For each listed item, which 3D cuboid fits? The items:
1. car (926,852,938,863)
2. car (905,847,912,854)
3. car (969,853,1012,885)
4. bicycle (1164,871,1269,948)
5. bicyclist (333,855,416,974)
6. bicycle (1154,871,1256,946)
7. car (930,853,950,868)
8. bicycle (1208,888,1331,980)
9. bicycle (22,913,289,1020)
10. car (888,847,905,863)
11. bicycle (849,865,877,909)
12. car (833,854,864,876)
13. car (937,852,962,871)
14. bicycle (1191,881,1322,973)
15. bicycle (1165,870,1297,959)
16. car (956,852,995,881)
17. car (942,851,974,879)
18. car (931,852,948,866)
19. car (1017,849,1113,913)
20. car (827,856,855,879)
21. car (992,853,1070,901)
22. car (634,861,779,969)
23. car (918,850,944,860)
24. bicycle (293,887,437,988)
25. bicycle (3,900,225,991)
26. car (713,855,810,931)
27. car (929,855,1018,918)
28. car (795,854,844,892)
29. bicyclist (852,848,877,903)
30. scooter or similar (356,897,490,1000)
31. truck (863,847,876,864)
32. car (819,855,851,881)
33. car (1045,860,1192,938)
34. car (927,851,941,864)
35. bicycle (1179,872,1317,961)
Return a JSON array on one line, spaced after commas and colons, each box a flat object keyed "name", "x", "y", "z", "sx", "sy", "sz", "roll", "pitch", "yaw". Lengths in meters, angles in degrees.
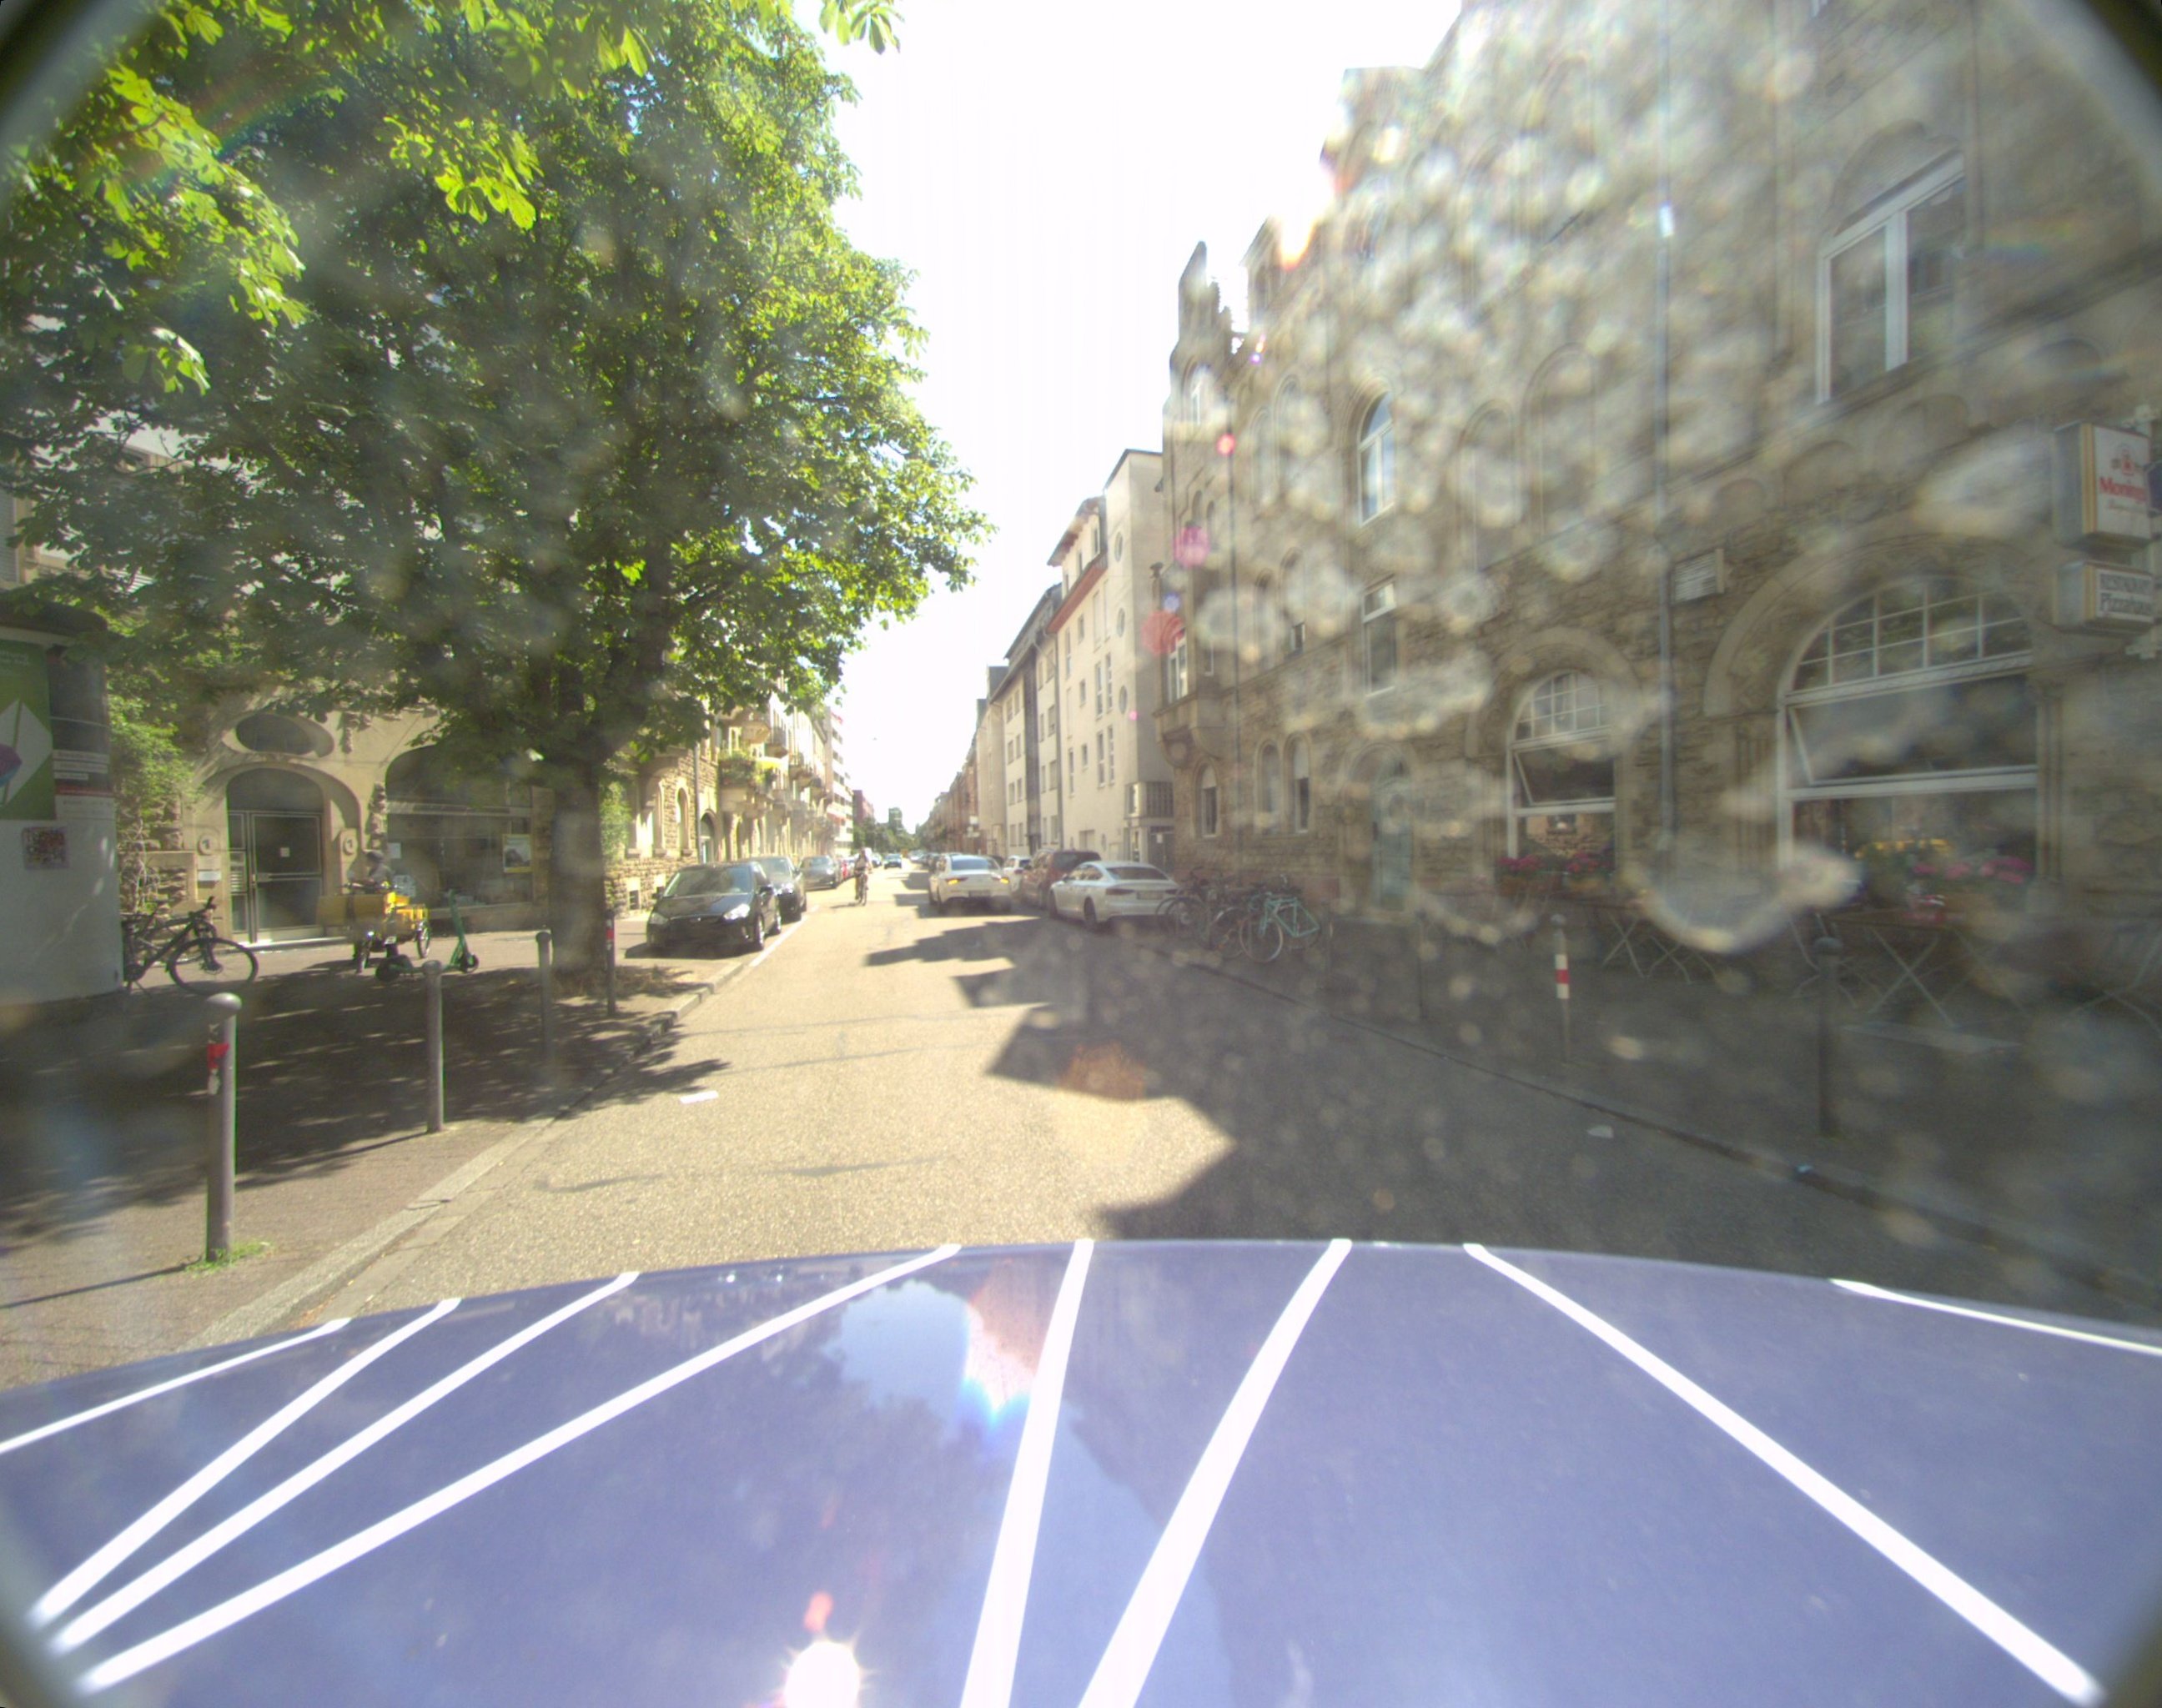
[{"name": "car", "x": -20.028, "y": 0.495, "z": 102.053, "sx": 1.452, "sy": 1.391, "sz": 3.521, "roll": 3, "pitch": 0, "yaw": -13}, {"name": "car", "x": -48.168, "y": -1.041, "z": 212.554, "sx": 1.787, "sy": 2.002, "sz": 3.995, "roll": -2, "pitch": 1, "yaw": -11}, {"name": "car", "x": -4.538, "y": 0.702, "z": 37.713, "sx": 1.573, "sy": 1.483, "sz": 3.888, "roll": 1, "pitch": 0, "yaw": -15}, {"name": "bicycle", "x": 2.233, "y": 0.888, "z": 12.428, "sx": 1.709, "sy": 1.094, "sz": 0.291, "roll": -4, "pitch": 2, "yaw": -18}, {"name": "bicyclist", "x": -10.116, "y": 0.835, "z": 10.908, "sx": 0.681, "sy": 1.638, "sz": 0.660, "roll": -1, "pitch": 1, "yaw": -28}, {"name": "bicycle", "x": 2.083, "y": 0.892, "z": 12.710, "sx": 1.709, "sy": 1.094, "sz": 0.291, "roll": -3, "pitch": 2, "yaw": -18}, {"name": "car", "x": -14.331, "y": 0.641, "z": 77.039, "sx": 1.784, "sy": 1.421, "sz": 3.832, "roll": 3, "pitch": 0, "yaw": -12}, {"name": "bicycle", "x": 2.430, "y": 1.004, "z": 9.753, "sx": 1.531, "sy": 1.002, "sz": 0.366, "roll": -4, "pitch": 2, "yaw": -18}, {"name": "bicycle", "x": -10.442, "y": 1.246, "z": 8.654, "sx": 1.907, "sy": 1.033, "sz": 0.633, "roll": -1, "pitch": 1, "yaw": -14}, {"name": "car", "x": -19.306, "y": 0.115, "z": 79.383, "sx": 1.627, "sy": 1.601, "sz": 3.592, "roll": -1, "pitch": 1, "yaw": -14}, {"name": "bicycle", "x": -6.494, "y": 0.954, "z": 22.696, "sx": 0.672, "sy": 1.169, "sz": 2.091, "roll": -1, "pitch": 1, "yaw": -13}, {"name": "car", "x": -17.622, "y": 0.835, "z": 57.792, "sx": 1.722, "sy": 1.444, "sz": 4.591, "roll": -4, "pitch": 1, "yaw": -11}, {"name": "car", "x": -11.575, "y": 0.605, "z": 66.736, "sx": 1.635, "sy": 1.540, "sz": 3.847, "roll": 3, "pitch": 0, "yaw": -17}, {"name": "bicycle", "x": 2.360, "y": 0.947, "z": 10.181, "sx": 1.711, "sy": 1.039, "sz": 0.413, "roll": -4, "pitch": 2, "yaw": -18}, {"name": "bicycle", "x": 2.296, "y": 0.891, "z": 11.569, "sx": 1.979, "sy": 1.123, "sz": 0.394, "roll": -5, "pitch": 3, "yaw": -18}, {"name": "car", "x": -6.040, "y": 0.671, "z": 43.225, "sx": 1.663, "sy": 1.510, "sz": 4.664, "roll": 1, "pitch": 0, "yaw": -15}, {"name": "car", "x": -7.851, "y": 0.676, "z": 48.212, "sx": 1.610, "sy": 1.634, "sz": 3.971, "roll": 1, "pitch": 0, "yaw": -15}, {"name": "car", "x": -15.317, "y": 0.562, "z": 82.282, "sx": 1.634, "sy": 1.421, "sz": 3.674, "roll": 3, "pitch": 0, "yaw": -12}, {"name": "car", "x": -0.557, "y": 0.682, "z": 21.257, "sx": 1.679, "sy": 1.574, "sz": 4.046, "roll": 1, "pitch": 0, "yaw": -16}, {"name": "car", "x": -16.433, "y": 0.897, "z": 52.218, "sx": 1.595, "sy": 1.444, "sz": 3.850, "roll": -4, "pitch": 1, "yaw": -15}, {"name": "car", "x": -1.811, "y": 0.740, "z": 26.141, "sx": 1.783, "sy": 1.451, "sz": 4.272, "roll": 1, "pitch": 0, "yaw": -16}, {"name": "car", "x": -6.748, "y": 0.984, "z": 14.120, "sx": 1.669, "sy": 1.532, "sz": 4.171, "roll": -4, "pitch": 1, "yaw": -17}, {"name": "car", "x": -23.435, "y": 0.124, "z": 118.482, "sx": 4.001, "sy": 1.422, "sz": 1.676, "roll": -1, "pitch": 1, "yaw": -12}, {"name": "bicycle", "x": -10.276, "y": 1.125, "z": 11.039, "sx": 0.797, "sy": 1.162, "sz": 2.572, "roll": -1, "pitch": 1, "yaw": -27}, {"name": "bicycle", "x": -13.586, "y": 1.245, "z": 10.766, "sx": 0.548, "sy": 1.033, "sz": 1.839, "roll": 0, "pitch": 1, "yaw": 19}, {"name": "car", "x": -8.100, "y": 0.890, "z": 19.616, "sx": 1.742, "sy": 1.588, "sz": 4.341, "roll": -4, "pitch": 1, "yaw": -17}, {"name": "car", "x": -2.981, "y": 0.780, "z": 20.282, "sx": 1.848, "sy": 1.452, "sz": 4.356, "roll": 1, "pitch": 0, "yaw": -15}, {"name": "car", "x": -12.352, "y": 0.843, "z": 36.115, "sx": 1.840, "sy": 1.558, "sz": 4.598, "roll": -4, "pitch": 1, "yaw": -15}, {"name": "bicyclist", "x": -6.535, "y": 0.638, "z": 22.949, "sx": 0.645, "sy": 1.640, "sz": 0.621, "roll": -1, "pitch": 1, "yaw": -13}, {"name": "scooter or similar", "x": -8.276, "y": 1.149, "z": 9.606, "sx": 0.442, "sy": 1.130, "sz": 1.187, "roll": 0, "pitch": 1, "yaw": 22}, {"name": "truck", "x": -34.596, "y": 0.182, "z": 124.201, "sx": 1.871, "sy": 2.715, "sz": 4.502, "roll": -1, "pitch": 1, "yaw": -13}, {"name": "car", "x": -15.275, "y": 0.831, "z": 47.293, "sx": 1.576, "sy": 1.444, "sz": 3.837, "roll": -4, "pitch": 1, "yaw": -14}, {"name": "car", "x": 0.618, "y": 0.858, "z": 16.272, "sx": 1.708, "sy": 1.345, "sz": 4.508, "roll": 1, "pitch": 0, "yaw": -17}, {"name": "car", "x": -18.798, "y": 0.414, "z": 97.278, "sx": 1.452, "sy": 1.633, "sz": 3.521, "roll": 3, "pitch": 0, "yaw": -14}, {"name": "bicycle", "x": 2.468, "y": 0.890, "z": 11.156, "sx": 2.003, "sy": 1.123, "sz": 0.435, "roll": -3, "pitch": 2, "yaw": -18}]
